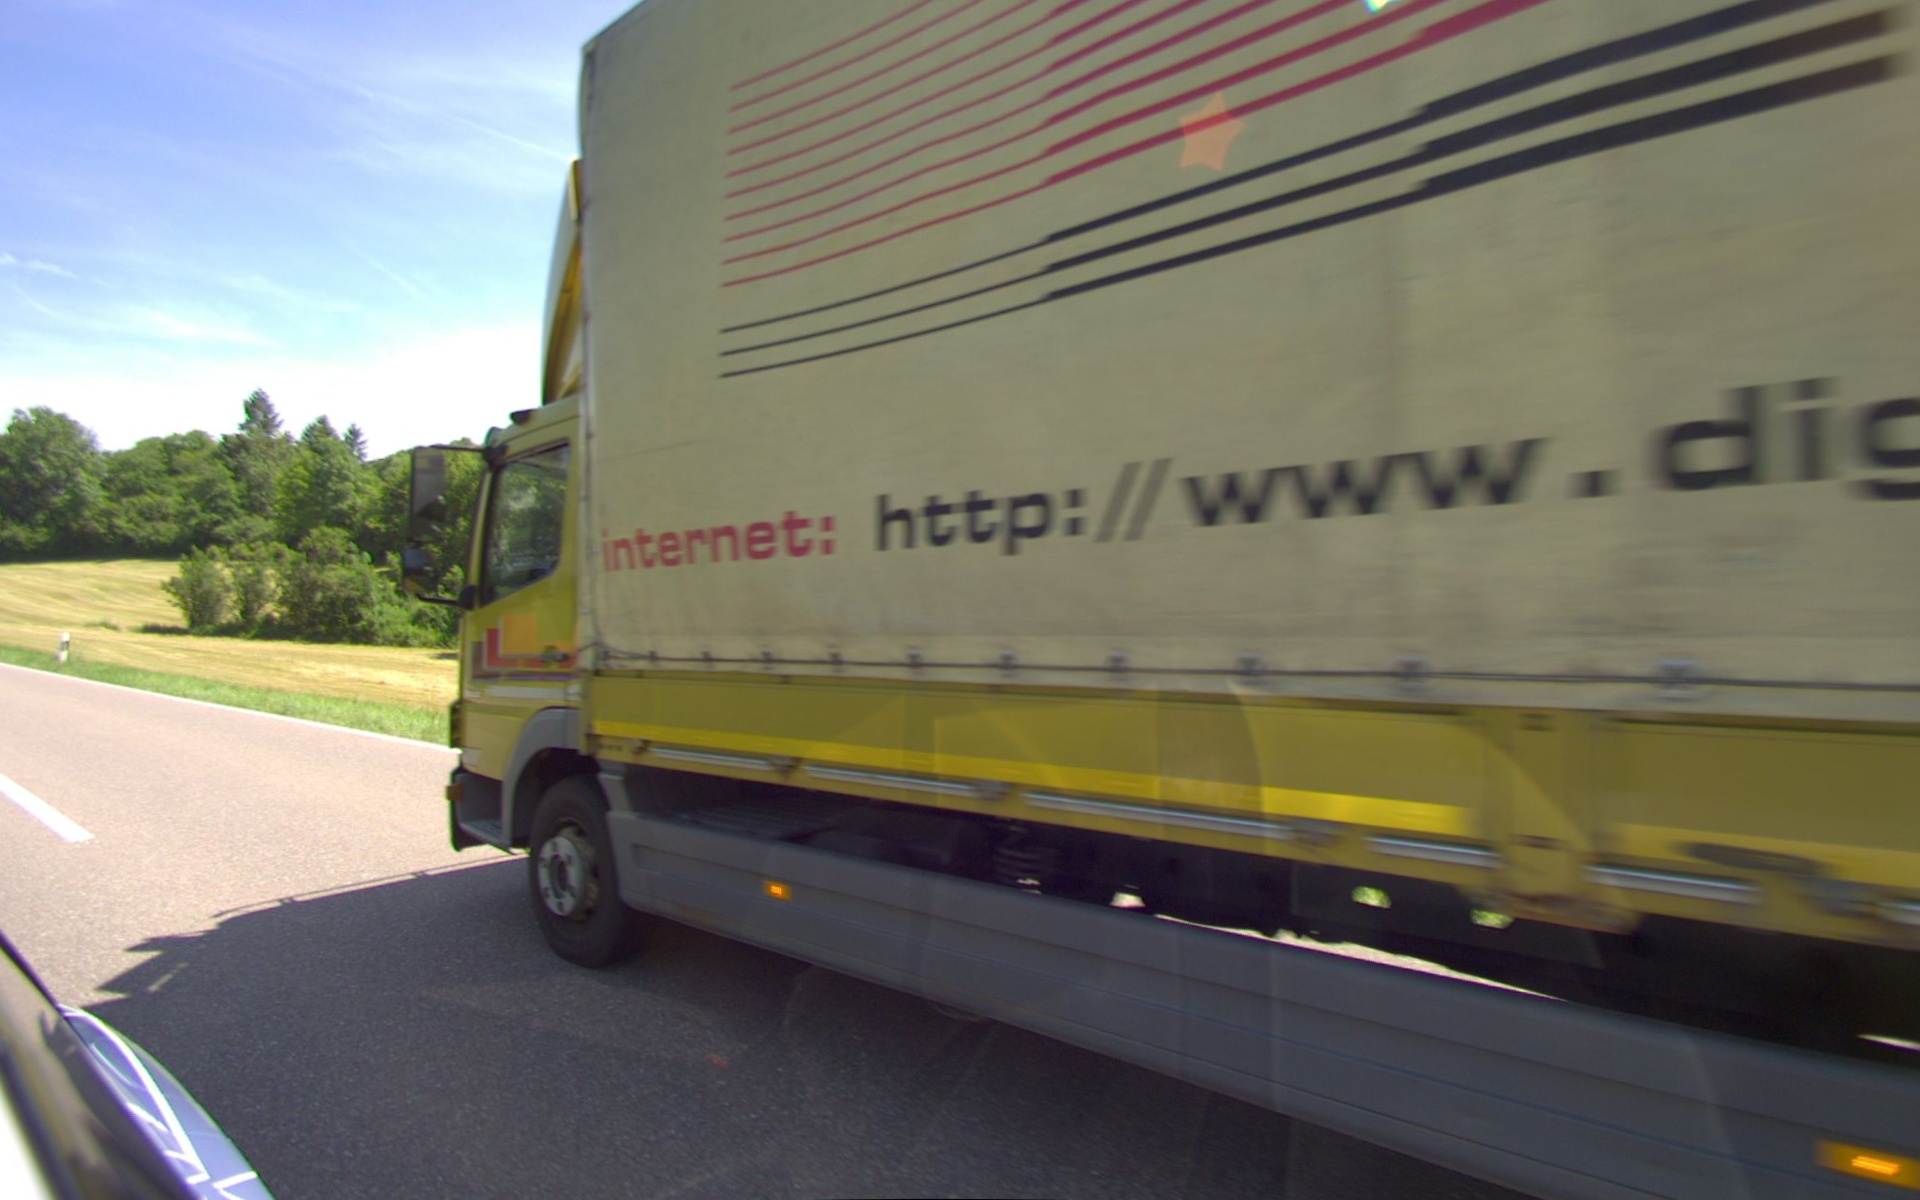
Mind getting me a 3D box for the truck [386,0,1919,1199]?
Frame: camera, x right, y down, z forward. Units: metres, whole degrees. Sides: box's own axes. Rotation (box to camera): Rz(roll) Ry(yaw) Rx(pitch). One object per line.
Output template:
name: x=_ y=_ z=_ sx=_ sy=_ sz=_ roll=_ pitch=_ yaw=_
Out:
truck: x=1.521 y=-0.448 z=2.885 sx=8.539 sy=3.719 sz=2.703 roll=-1 pitch=-1 yaw=40
